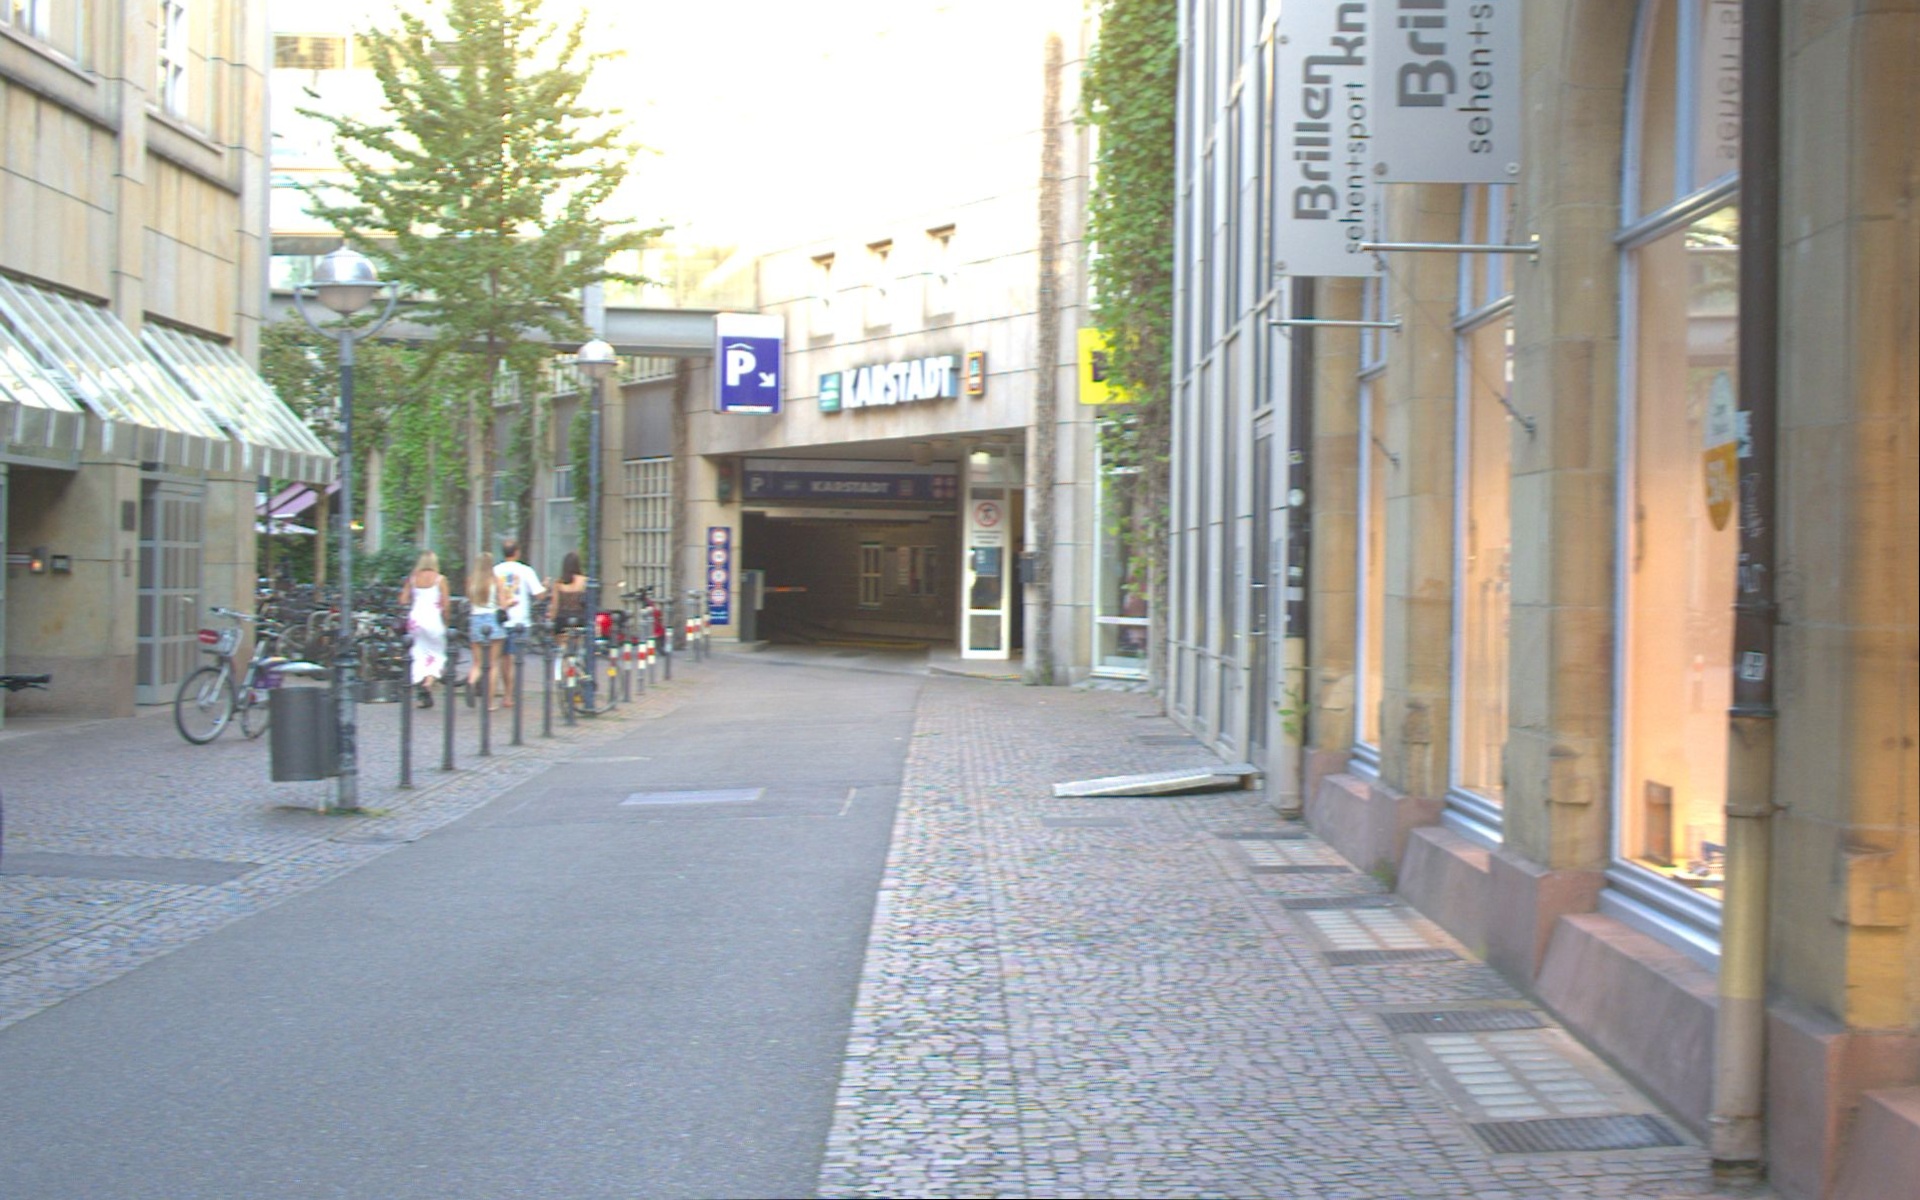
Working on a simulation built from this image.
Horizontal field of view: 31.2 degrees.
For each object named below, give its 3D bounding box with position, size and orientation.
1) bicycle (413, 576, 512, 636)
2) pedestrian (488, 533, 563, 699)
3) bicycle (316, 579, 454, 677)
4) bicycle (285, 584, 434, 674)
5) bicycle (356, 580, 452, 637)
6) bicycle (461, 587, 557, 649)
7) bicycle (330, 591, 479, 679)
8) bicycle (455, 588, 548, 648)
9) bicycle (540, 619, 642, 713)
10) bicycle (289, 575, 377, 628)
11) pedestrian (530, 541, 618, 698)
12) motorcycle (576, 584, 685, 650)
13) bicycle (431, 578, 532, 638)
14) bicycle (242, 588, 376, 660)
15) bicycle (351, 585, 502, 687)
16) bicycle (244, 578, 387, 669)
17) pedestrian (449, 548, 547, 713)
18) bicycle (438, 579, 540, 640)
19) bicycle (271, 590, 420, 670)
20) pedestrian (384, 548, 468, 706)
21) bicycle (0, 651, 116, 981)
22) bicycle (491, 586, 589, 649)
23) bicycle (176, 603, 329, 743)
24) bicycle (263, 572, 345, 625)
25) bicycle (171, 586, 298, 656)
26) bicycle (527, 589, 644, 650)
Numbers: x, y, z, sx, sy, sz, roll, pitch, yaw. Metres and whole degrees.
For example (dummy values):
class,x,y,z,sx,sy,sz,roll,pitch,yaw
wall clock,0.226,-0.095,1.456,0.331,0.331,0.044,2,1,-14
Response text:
class,x,y,z,sx,sy,sz,roll,pitch,yaw
bicycle,-9.400,0.113,64.971,1.773,1.111,0.543,0,1,-21
pedestrian,-4.814,0.175,38.117,0.742,1.816,0.878,0,0,-2
bicycle,-7.332,0.345,43.818,1.653,1.226,0.534,0,1,-23
bicycle,-7.970,0.375,45.661,1.872,1.173,0.534,0,1,-23
bicycle,-10.875,0.157,67.220,1.773,1.111,0.543,0,1,-21
bicycle,-7.748,0.301,59.103,1.539,1.045,0.575,0,1,-21
bicycle,-7.228,0.445,44.711,1.836,1.118,0.534,0,1,-23
bicycle,-8.073,0.309,60.498,1.539,1.045,0.575,0,1,-21
bicycle,-3.866,0.681,36.113,0.493,0.935,1.658,2,1,14
bicycle,-13.316,0.028,72.983,1.773,1.111,0.543,0,1,-18
pedestrian,-4.453,0.213,39.747,0.785,1.789,0.972,0,1,9
motorcycle,-5.244,0.264,54.710,1.662,1.047,0.464,0,1,-21
bicycle,-8.894,0.141,63.923,1.773,1.111,0.543,0,1,-21
bicycle,-9.587,0.345,50.642,1.876,1.039,0.534,0,1,-23
bicycle,-6.600,0.440,42.544,1.766,1.226,0.534,0,1,-23
bicycle,-8.783,0.309,46.861,1.833,1.221,0.534,0,1,-23
pedestrian,-4.920,0.319,36.668,0.806,1.723,0.948,1,0,7
bicycle,-8.585,0.167,62.696,1.773,1.111,0.543,0,1,-21
bicycle,-8.256,0.401,46.190,1.893,1.048,0.534,0,1,-23
pedestrian,-5.711,0.282,36.807,0.675,1.659,0.860,1,0,6
bicycle,-3.744,0.803,13.066,0.533,1.150,1.915,2,1,1
bicycle,-7.104,0.291,58.128,1.539,1.045,0.575,0,1,-21
bicycle,-6.008,0.605,29.287,0.522,1.134,1.763,0,1,16
bicycle,-14.939,-0.044,78.288,1.773,1.186,0.586,0,1,-21
bicycle,-11.055,0.312,52.392,1.824,1.039,0.534,0,1,-23
bicycle,-6.137,0.316,56.332,1.847,0.979,0.464,0,1,-21
